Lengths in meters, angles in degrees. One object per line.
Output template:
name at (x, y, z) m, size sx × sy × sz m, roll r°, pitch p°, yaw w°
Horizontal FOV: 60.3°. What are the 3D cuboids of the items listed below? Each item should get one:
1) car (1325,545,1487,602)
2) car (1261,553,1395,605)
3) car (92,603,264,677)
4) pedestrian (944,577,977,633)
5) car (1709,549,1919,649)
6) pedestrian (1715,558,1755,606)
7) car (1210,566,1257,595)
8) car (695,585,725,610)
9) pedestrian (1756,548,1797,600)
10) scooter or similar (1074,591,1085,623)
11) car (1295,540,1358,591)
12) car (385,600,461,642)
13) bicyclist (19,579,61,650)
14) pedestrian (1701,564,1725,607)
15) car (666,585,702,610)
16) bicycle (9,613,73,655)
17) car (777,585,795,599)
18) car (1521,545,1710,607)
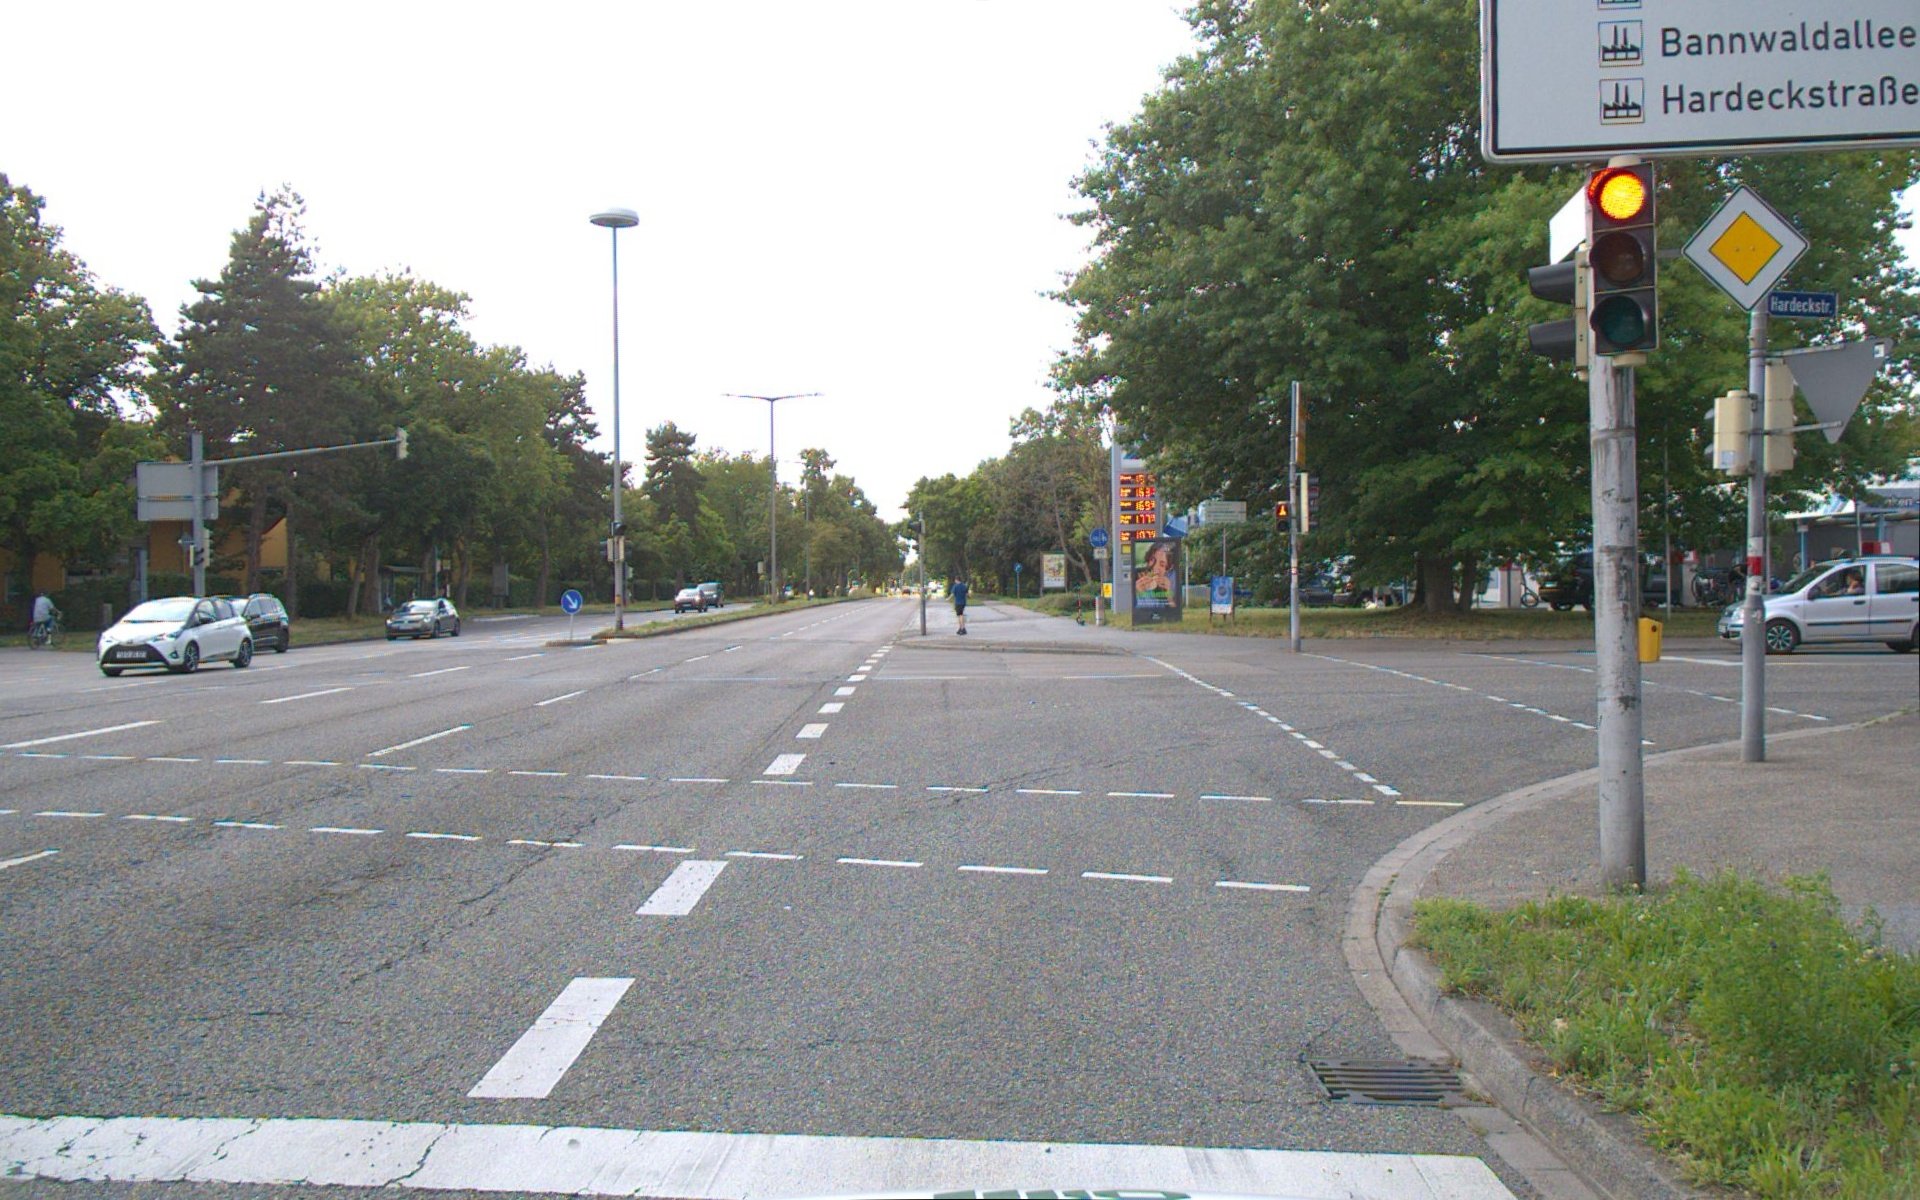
car at (15.746, -0.934, 58.474) m, size 5.089 × 1.858 × 2.148 m, roll -1°, pitch 0°, yaw -12°
car at (15.421, -0.888, 69.402) m, size 5.079 × 2.039 × 2.152 m, roll -1°, pitch 0°, yaw -5°
car at (-15.661, 0.767, 33.318) m, size 1.717 × 1.331 × 3.693 m, roll -2°, pitch 0°, yaw -1°
pedestrian at (0.015, 0.131, 46.773) m, size 0.713 × 1.558 × 0.756 m, roll -1°, pitch 0°, yaw -17°
car at (14.278, -0.021, 26.920) m, size 3.520 × 1.543 × 1.560 m, roll -1°, pitch 0°, yaw 12°
pedestrian at (19.732, -0.449, 42.105) m, size 0.640 × 1.210 × 0.753 m, roll 1°, pitch -1°, yaw -45°
car at (14.555, -1.046, 88.092) m, size 1.715 × 1.479 × 3.739 m, roll -1°, pitch 0°, yaw -2°
car at (-19.943, -0.210, 132.095) m, size 1.729 × 1.889 × 4.816 m, roll -1°, pitch 1°, yaw -1°
pedestrian at (20.508, -0.656, 41.542) m, size 0.640 × 1.277 × 0.753 m, roll 1°, pitch -1°, yaw -45°
scooter or similar at (3.756, 0.211, 51.968) m, size 0.216 × 0.996 × 1.272 m, roll -1°, pitch 0°, yaw -1°
car at (18.835, -1.732, 85.214) m, size 1.715 × 2.496 × 5.747 m, roll -1°, pitch 0°, yaw -2°
car at (-19.585, 0.746, 60.445) m, size 1.562 × 1.396 × 4.079 m, roll -1°, pitch 0°, yaw -3°
bicyclist at (-26.893, 0.411, 48.354) m, size 0.736 × 2.049 × 0.831 m, roll -1°, pitch 0°, yaw -3°
pedestrian at (27.779, -0.534, 61.018) m, size 0.640 × 1.571 × 0.624 m, roll -1°, pitch 0°, yaw 6°
car at (-17.548, -0.156, 105.290) m, size 1.736 × 1.490 × 4.453 m, roll -1°, pitch 0°, yaw -4°
bicycle at (-26.882, 0.977, 48.408) m, size 0.740 × 1.138 × 2.113 m, roll -1°, pitch 0°, yaw -3°
car at (-21.725, -1.038, 206.858) m, size 1.822 × 1.735 × 4.454 m, roll -1°, pitch 0°, yaw -2°
car at (18.296, -0.670, 46.259) m, size 4.469 × 1.624 × 2.148 m, roll -1°, pitch 0°, yaw -12°
